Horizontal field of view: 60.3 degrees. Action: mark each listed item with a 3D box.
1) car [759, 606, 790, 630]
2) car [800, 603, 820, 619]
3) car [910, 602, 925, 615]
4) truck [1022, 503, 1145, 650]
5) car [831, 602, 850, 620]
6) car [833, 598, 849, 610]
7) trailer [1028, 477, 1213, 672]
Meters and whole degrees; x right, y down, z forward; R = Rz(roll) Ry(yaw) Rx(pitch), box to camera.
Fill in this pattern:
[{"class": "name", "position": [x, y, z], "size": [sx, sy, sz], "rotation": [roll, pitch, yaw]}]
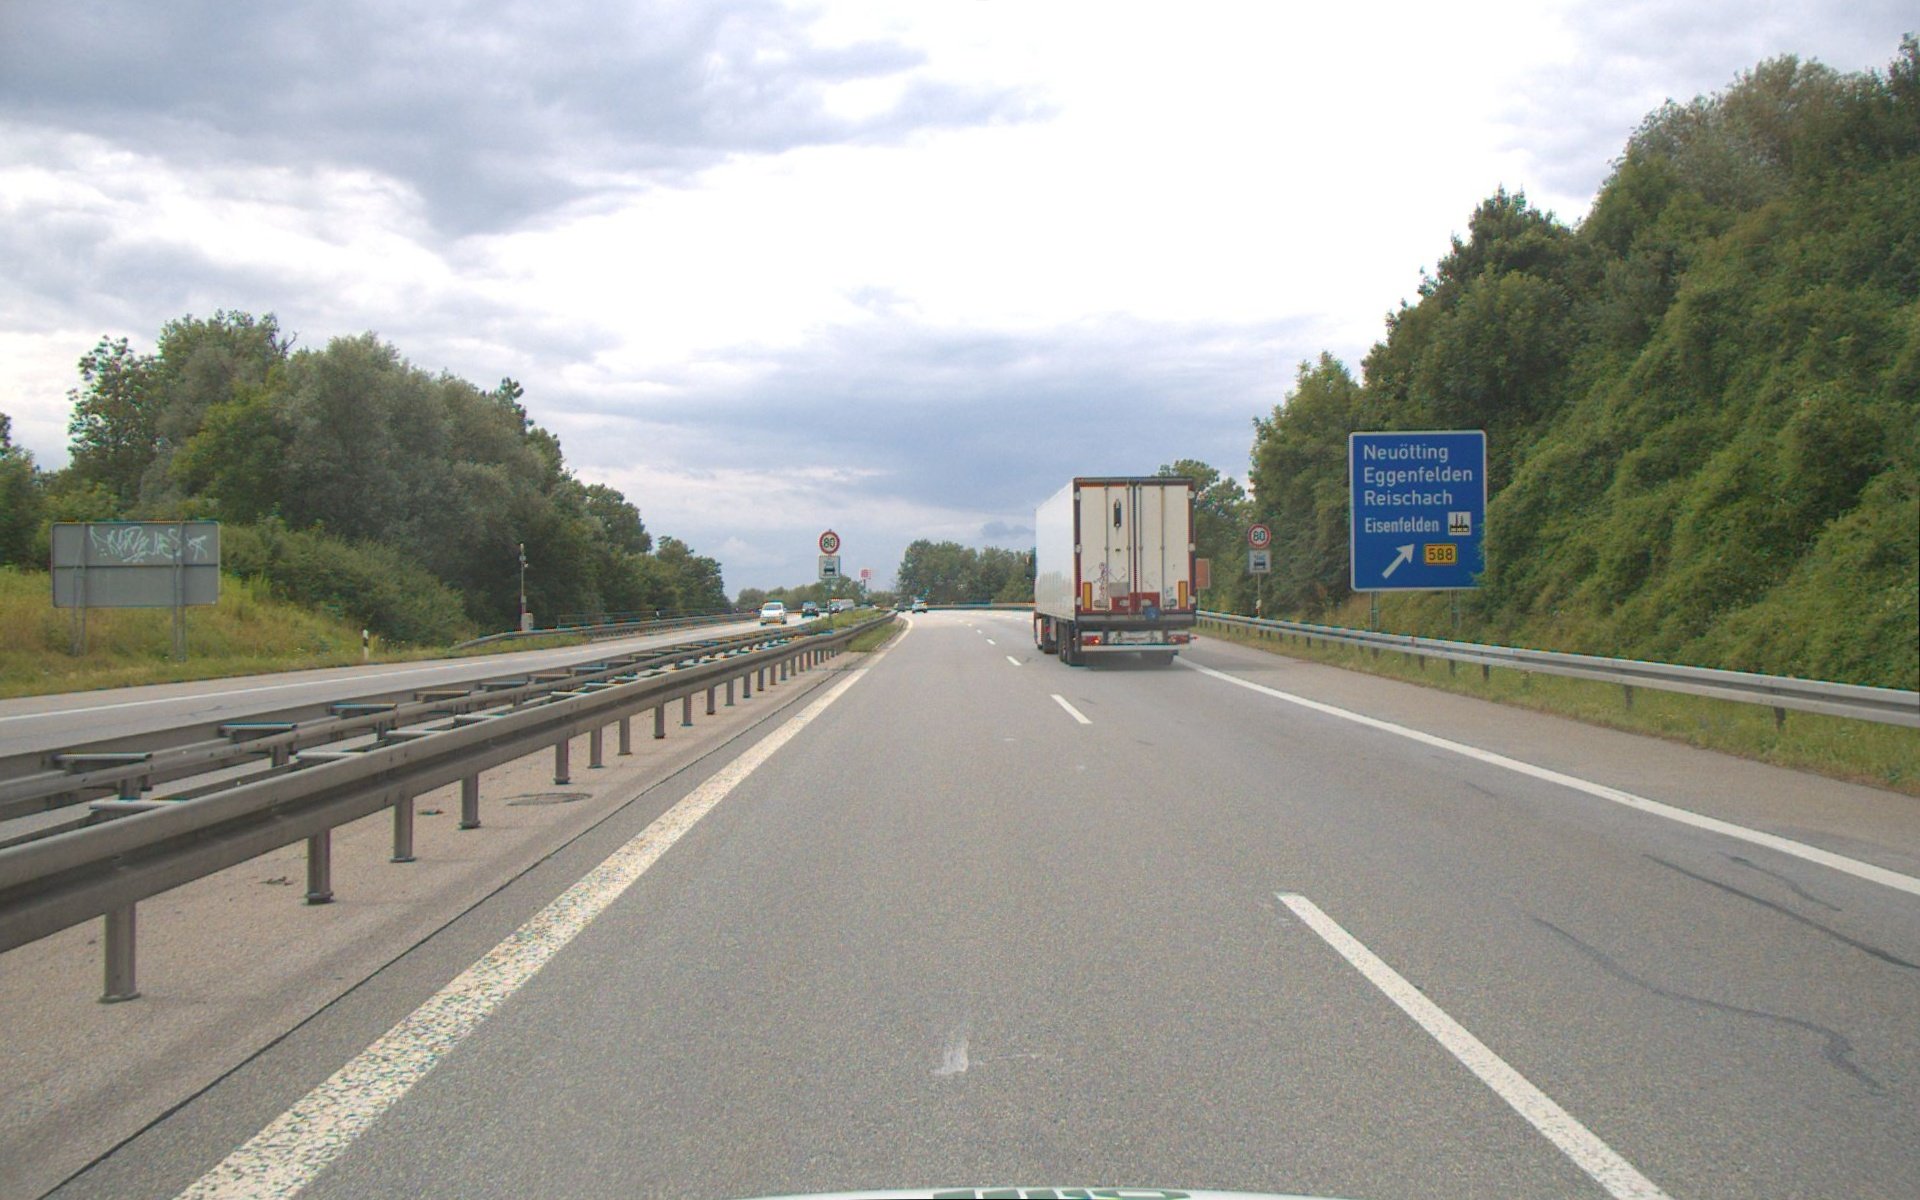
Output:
[{"class": "car", "position": [-12.665, 1.183, 113.088], "size": [1.616, 1.518, 4.282], "rotation": [-1, 0, -1]}, {"class": "car", "position": [-15.857, 1.202, 175.420], "size": [1.694, 1.587, 4.331], "rotation": [-2, 0, -1]}, {"class": "car", "position": [-5.746, 1.138, 221.126], "size": [1.864, 1.668, 4.393], "rotation": [-2, -1, -2]}, {"class": "truck", "position": [3.507, -0.646, 48.540], "size": [3.000, 3.960, 5.999], "rotation": [-2, 0, -1]}, {"class": "car", "position": [-12.468, 1.134, 172.957], "size": [1.690, 1.679, 4.223], "rotation": [-1, 1, 0]}, {"class": "car", "position": [-15.841, 0.560, 220.412], "size": [1.808, 1.640, 4.945], "rotation": [0, 0, -2]}, {"class": "trailer", "position": [3.608, -0.536, 41.187], "size": [3.000, 3.958, 13.787], "rotation": [-2, 0, -1]}]
